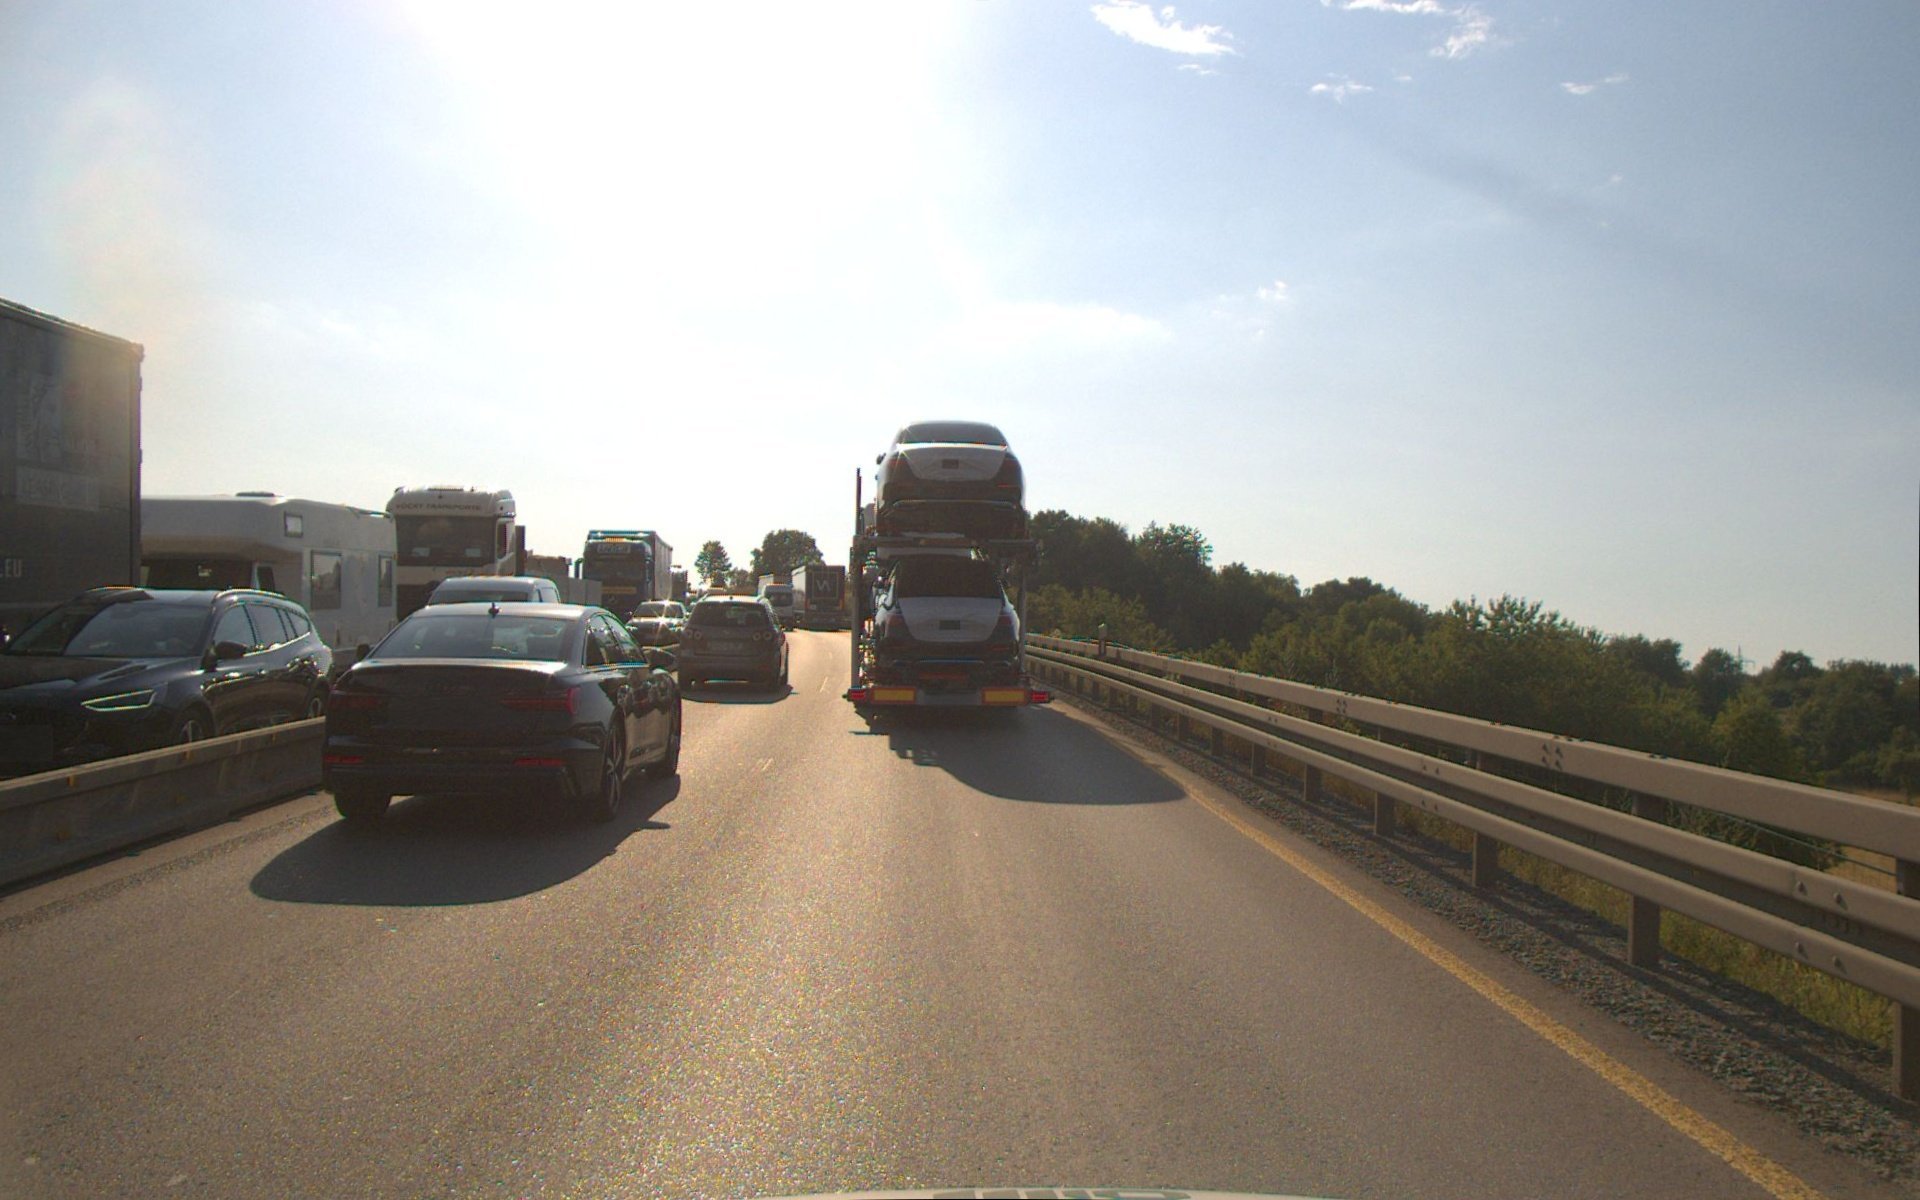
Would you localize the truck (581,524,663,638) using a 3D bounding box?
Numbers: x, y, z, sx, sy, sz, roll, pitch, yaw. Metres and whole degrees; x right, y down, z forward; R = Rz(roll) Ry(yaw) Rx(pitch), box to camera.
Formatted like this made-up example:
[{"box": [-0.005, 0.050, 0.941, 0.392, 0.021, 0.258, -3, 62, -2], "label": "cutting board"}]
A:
[{"box": [-12.825, -0.656, 63.075, 2.455, 4.137, 5.658, 1, -1, -6], "label": "truck"}]

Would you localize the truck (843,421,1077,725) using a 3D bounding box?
[{"box": [-0.298, -0.274, 24.817, 2.743, 3.558, 10.597, 1, 0, -3], "label": "truck"}]

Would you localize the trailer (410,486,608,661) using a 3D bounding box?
[{"box": [-11.328, -0.520, 43.087, 2.470, 3.790, 13.963, 1, 0, -5], "label": "trailer"}]

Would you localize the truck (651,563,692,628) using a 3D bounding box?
[{"box": [-19.048, -0.251, 109.370, 2.456, 4.137, 5.873, 1, -1, -8], "label": "truck"}]

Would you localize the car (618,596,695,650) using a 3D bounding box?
[{"box": [-9.052, 0.669, 49.583, 1.758, 1.538, 4.582, 1, 0, -4], "label": "car"}]

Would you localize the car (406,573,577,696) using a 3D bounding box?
[{"box": [-7.112, 0.508, 25.510, 1.722, 1.725, 4.448, 1, -1, -5], "label": "car"}]

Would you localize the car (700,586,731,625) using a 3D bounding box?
[{"box": [-16.607, 0.390, 112.417, 2.018, 2.544, 6.763, 1, -1, -8], "label": "car"}]

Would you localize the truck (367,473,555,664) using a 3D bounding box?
[{"box": [-10.863, -0.612, 36.651, 2.549, 3.820, 6.511, 1, -1, -4], "label": "truck"}]

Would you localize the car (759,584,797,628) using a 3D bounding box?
[{"box": [-10.825, 0.392, 98.614, 1.882, 2.536, 5.405, 1, -1, -3], "label": "car"}]

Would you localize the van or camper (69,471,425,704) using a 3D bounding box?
[{"box": [-10.268, -0.128, 24.794, 2.360, 2.942, 7.613, 1, -1, -3], "label": "van or camper"}]

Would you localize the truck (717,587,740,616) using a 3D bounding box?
[{"box": [-26.164, 0.191, 187.182, 2.542, 3.226, 6.665, 1, -1, -8], "label": "truck"}]

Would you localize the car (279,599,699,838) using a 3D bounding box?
[{"box": [-3.240, 0.721, 12.506, 1.895, 1.423, 4.959, 1, 0, -2], "label": "car"}]

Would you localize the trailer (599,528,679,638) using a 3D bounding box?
[{"box": [-13.556, -0.616, 70.783, 2.263, 4.203, 14.578, 1, 0, -7], "label": "trailer"}]

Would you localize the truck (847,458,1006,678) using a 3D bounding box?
[{"box": [-0.880, -0.523, 34.230, 2.782, 3.858, 9.979, 1, -1, -3], "label": "truck"}]

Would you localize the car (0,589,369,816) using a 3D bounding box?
[{"box": [-6.325, 0.696, 13.266, 1.646, 1.505, 4.601, 1, 0, -2], "label": "car"}]

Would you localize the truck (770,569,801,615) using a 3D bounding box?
[{"box": [-14.536, -0.605, 138.208, 2.482, 3.712, 8.894, 1, -1, -5], "label": "truck"}]

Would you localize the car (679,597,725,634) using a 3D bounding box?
[{"box": [-11.170, 0.682, 71.803, 1.725, 1.534, 4.249, 1, -1, -6], "label": "car"}]

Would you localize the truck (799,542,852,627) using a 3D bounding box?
[{"box": [-8.860, -0.948, 108.964, 3.222, 5.328, 9.925, 1, -1, -5], "label": "truck"}]

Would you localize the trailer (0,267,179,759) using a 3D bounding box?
[{"box": [-9.482, -0.763, 13.579, 2.394, 4.262, 8.538, 1, -1, -3], "label": "trailer"}]

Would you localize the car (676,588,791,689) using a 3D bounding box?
[{"box": [-3.866, 0.639, 28.778, 1.658, 1.624, 3.997, 1, -1, -4], "label": "car"}]
